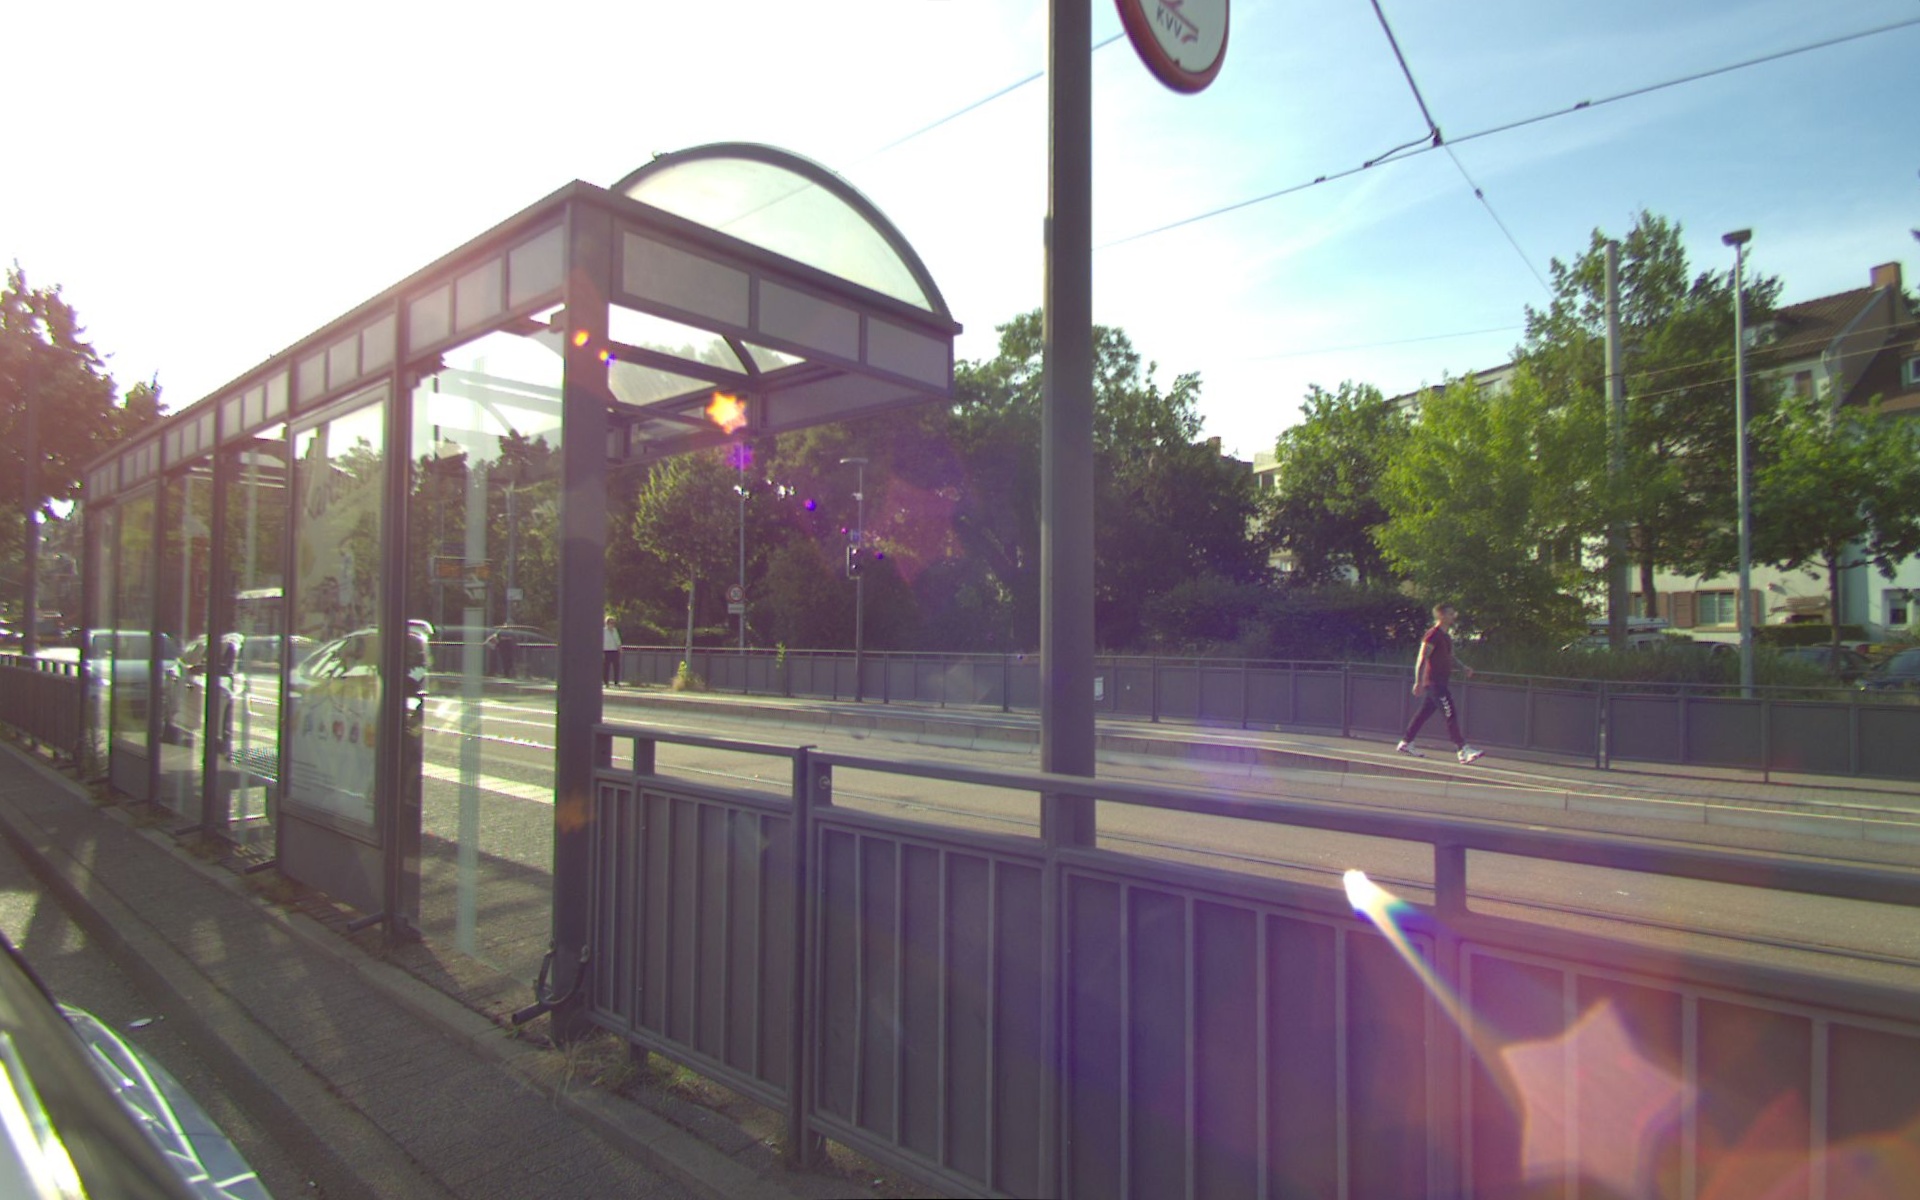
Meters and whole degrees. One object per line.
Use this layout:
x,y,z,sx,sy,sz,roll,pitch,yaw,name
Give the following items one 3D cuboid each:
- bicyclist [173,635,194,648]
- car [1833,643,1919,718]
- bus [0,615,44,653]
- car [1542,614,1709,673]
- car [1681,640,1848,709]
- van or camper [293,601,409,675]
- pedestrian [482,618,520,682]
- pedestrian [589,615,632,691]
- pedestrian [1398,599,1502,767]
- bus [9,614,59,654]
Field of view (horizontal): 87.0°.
-59.040,3.166,76.969,0.672,1.032,1.200,-2,-3,45,bicyclist
19.635,1.599,20.612,3.935,1.409,2.004,2,-3,-37,car
-91.730,3.231,98.776,9.258,3.461,2.405,-1,0,41,bus
18.000,1.192,27.398,3.930,1.497,1.854,1,-3,-22,car
18.183,1.622,22.839,3.935,1.409,2.004,2,-3,-37,car
-26.407,1.568,43.784,6.408,2.990,2.494,-1,0,41,van or camper
-12.516,1.365,27.605,0.618,1.697,0.613,-2,-6,41,pedestrian
-8.031,1.227,23.243,0.618,1.697,0.613,-2,-6,41,pedestrian
5.186,0.867,10.708,0.877,1.697,0.547,-2,-6,41,pedestrian
-84.805,3.035,92.633,9.258,3.461,2.405,-1,0,41,bus
